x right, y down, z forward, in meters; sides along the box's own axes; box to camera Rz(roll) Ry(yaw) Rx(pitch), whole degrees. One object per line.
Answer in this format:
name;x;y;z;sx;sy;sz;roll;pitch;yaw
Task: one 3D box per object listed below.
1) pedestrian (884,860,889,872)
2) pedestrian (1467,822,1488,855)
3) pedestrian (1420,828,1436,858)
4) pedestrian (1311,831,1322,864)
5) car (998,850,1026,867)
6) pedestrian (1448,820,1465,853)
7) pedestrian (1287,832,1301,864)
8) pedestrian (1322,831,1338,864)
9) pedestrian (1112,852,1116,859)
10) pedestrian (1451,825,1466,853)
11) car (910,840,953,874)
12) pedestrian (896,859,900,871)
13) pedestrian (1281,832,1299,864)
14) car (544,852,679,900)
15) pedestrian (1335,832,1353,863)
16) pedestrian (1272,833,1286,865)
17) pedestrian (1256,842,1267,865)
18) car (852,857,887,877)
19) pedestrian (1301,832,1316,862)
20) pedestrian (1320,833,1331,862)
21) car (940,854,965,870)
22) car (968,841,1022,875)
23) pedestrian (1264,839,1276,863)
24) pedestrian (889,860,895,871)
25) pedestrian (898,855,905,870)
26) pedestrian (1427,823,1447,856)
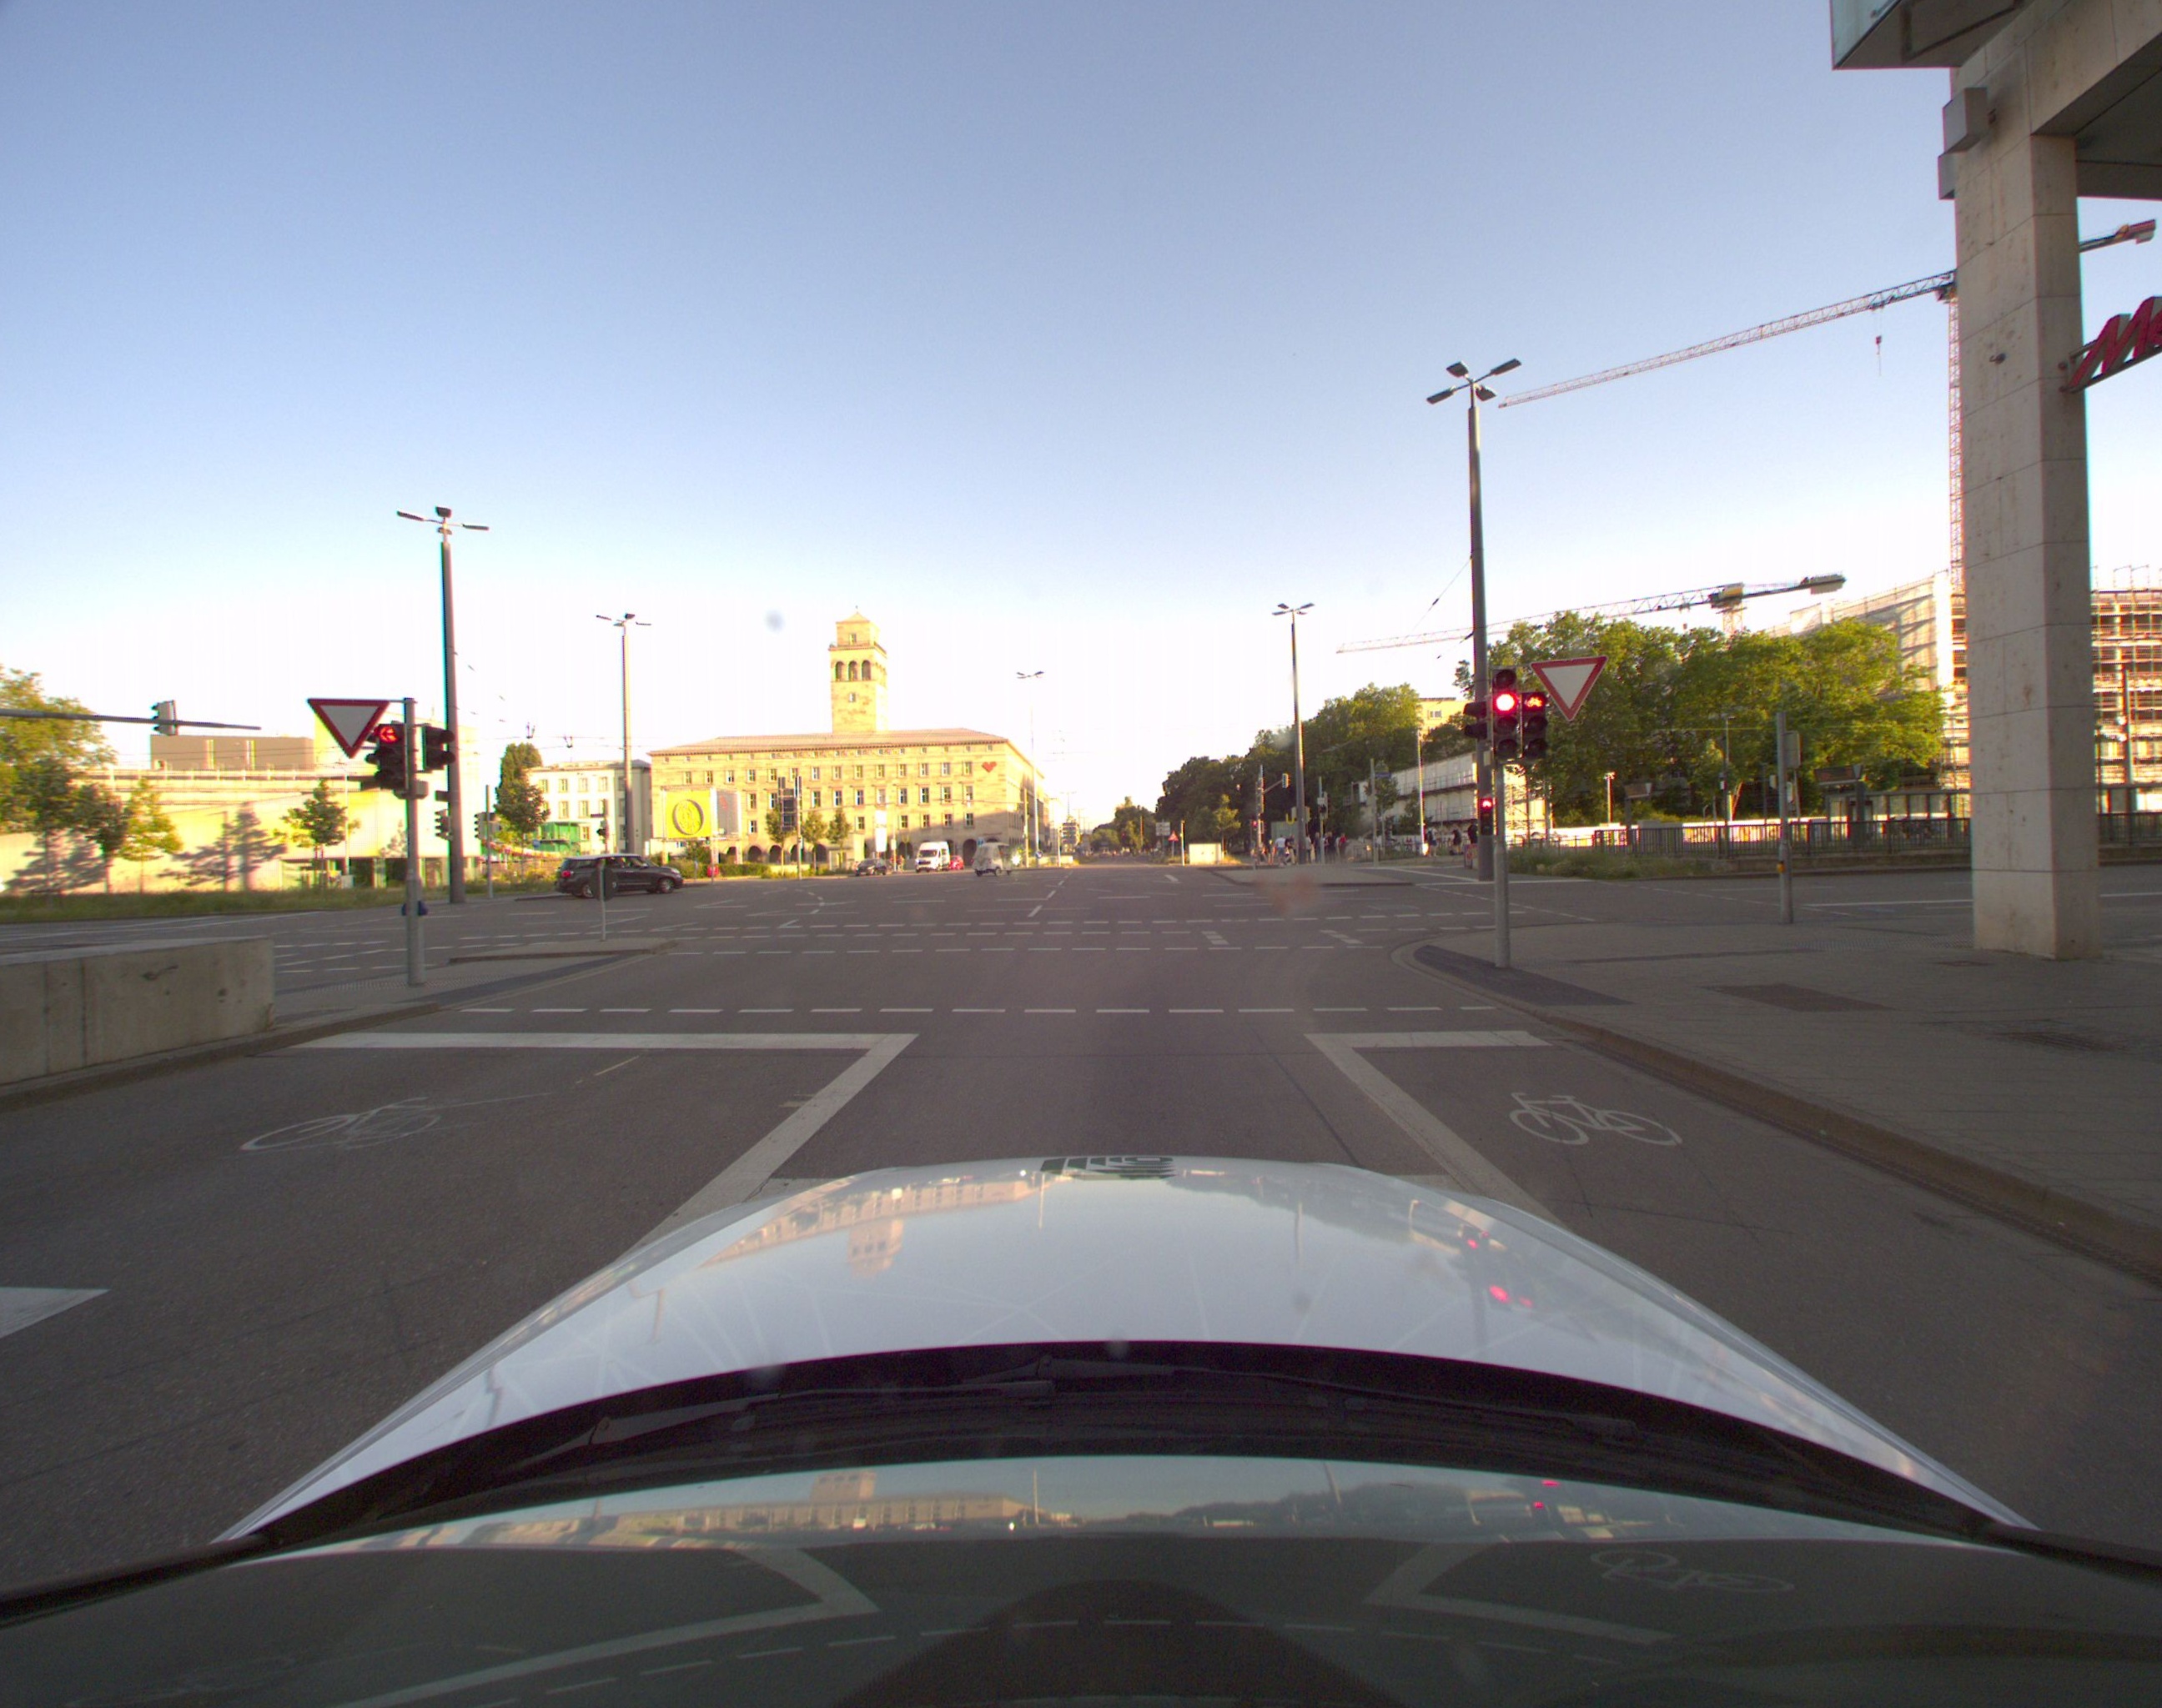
pedestrian;-22.078;1.341;92.382;0.473;1.300;0.463;0;-1;-4
pedestrian;20.728;-0.802;42.609;0.667;1.725;0.709;-2;0;-15
pedestrian;19.009;-0.589;44.606;0.569;1.592;0.537;-2;0;1
pedestrian;13.152;-0.367;45.474;0.568;1.791;0.641;-2;1;16
car;-6.167;0.382;72.958;1.815;1.341;4.005;-2;1;4
pedestrian;19.857;-0.931;43.025;0.705;1.725;0.672;-2;0;19
pedestrian;11.940;-0.347;45.670;0.705;1.725;0.671;-2;1;15
pedestrian;13.930;-0.359;45.503;0.799;1.791;0.804;-2;1;16
pedestrian;7.960;0.279;194.743;0.903;1.671;1.307;-2;1;1
pedestrian;20.246;-0.796;43.681;0.670;1.441;0.718;-2;0;24
car;-13.286;0.221;72.981;2.269;2.776;6.090;-2;0;4
pedestrian;-20.620;1.250;91.770;0.420;1.300;0.459;0;-1;-3
pedestrian;11.535;-0.312;44.934;0.905;1.725;0.716;-2;1;15
car;-17.862;0.795;31.104;4.157;1.604;1.723;-2;0;-42
pedestrian;14.794;-0.378;45.818;0.838;1.734;0.708;-2;1;14
pedestrian;11.169;-0.284;45.875;0.705;1.725;0.671;-2;1;16
pedestrian;13.395;-0.025;60.488;0.555;1.654;0.907;-2;1;22
car;-18.334;1.106;70.752;1.817;1.466;4.158;-2;1;0
pedestrian;12.963;-0.405;46.389;0.705;1.725;0.919;-2;1;18
pedestrian;14.115;-0.375;46.953;0.568;1.678;0.641;-2;1;16
car;-12.895;0.809;81.670;1.732;1.487;4.002;-2;1;2
car;-4.567;0.176;43.497;1.469;1.696;2.991;-2;0;25
pedestrian;14.034;-0.236;60.428;0.673;1.757;0.907;-2;1;22
pedestrian;-21.463;1.311;92.407;0.504;1.300;0.700;0;-1;-3
pedestrian;-20.603;0.964;93.476;0.620;1.744;0.459;0;-1;-4
pedestrian;18.925;-0.758;43.278;0.664;1.725;0.712;-2;0;-2
